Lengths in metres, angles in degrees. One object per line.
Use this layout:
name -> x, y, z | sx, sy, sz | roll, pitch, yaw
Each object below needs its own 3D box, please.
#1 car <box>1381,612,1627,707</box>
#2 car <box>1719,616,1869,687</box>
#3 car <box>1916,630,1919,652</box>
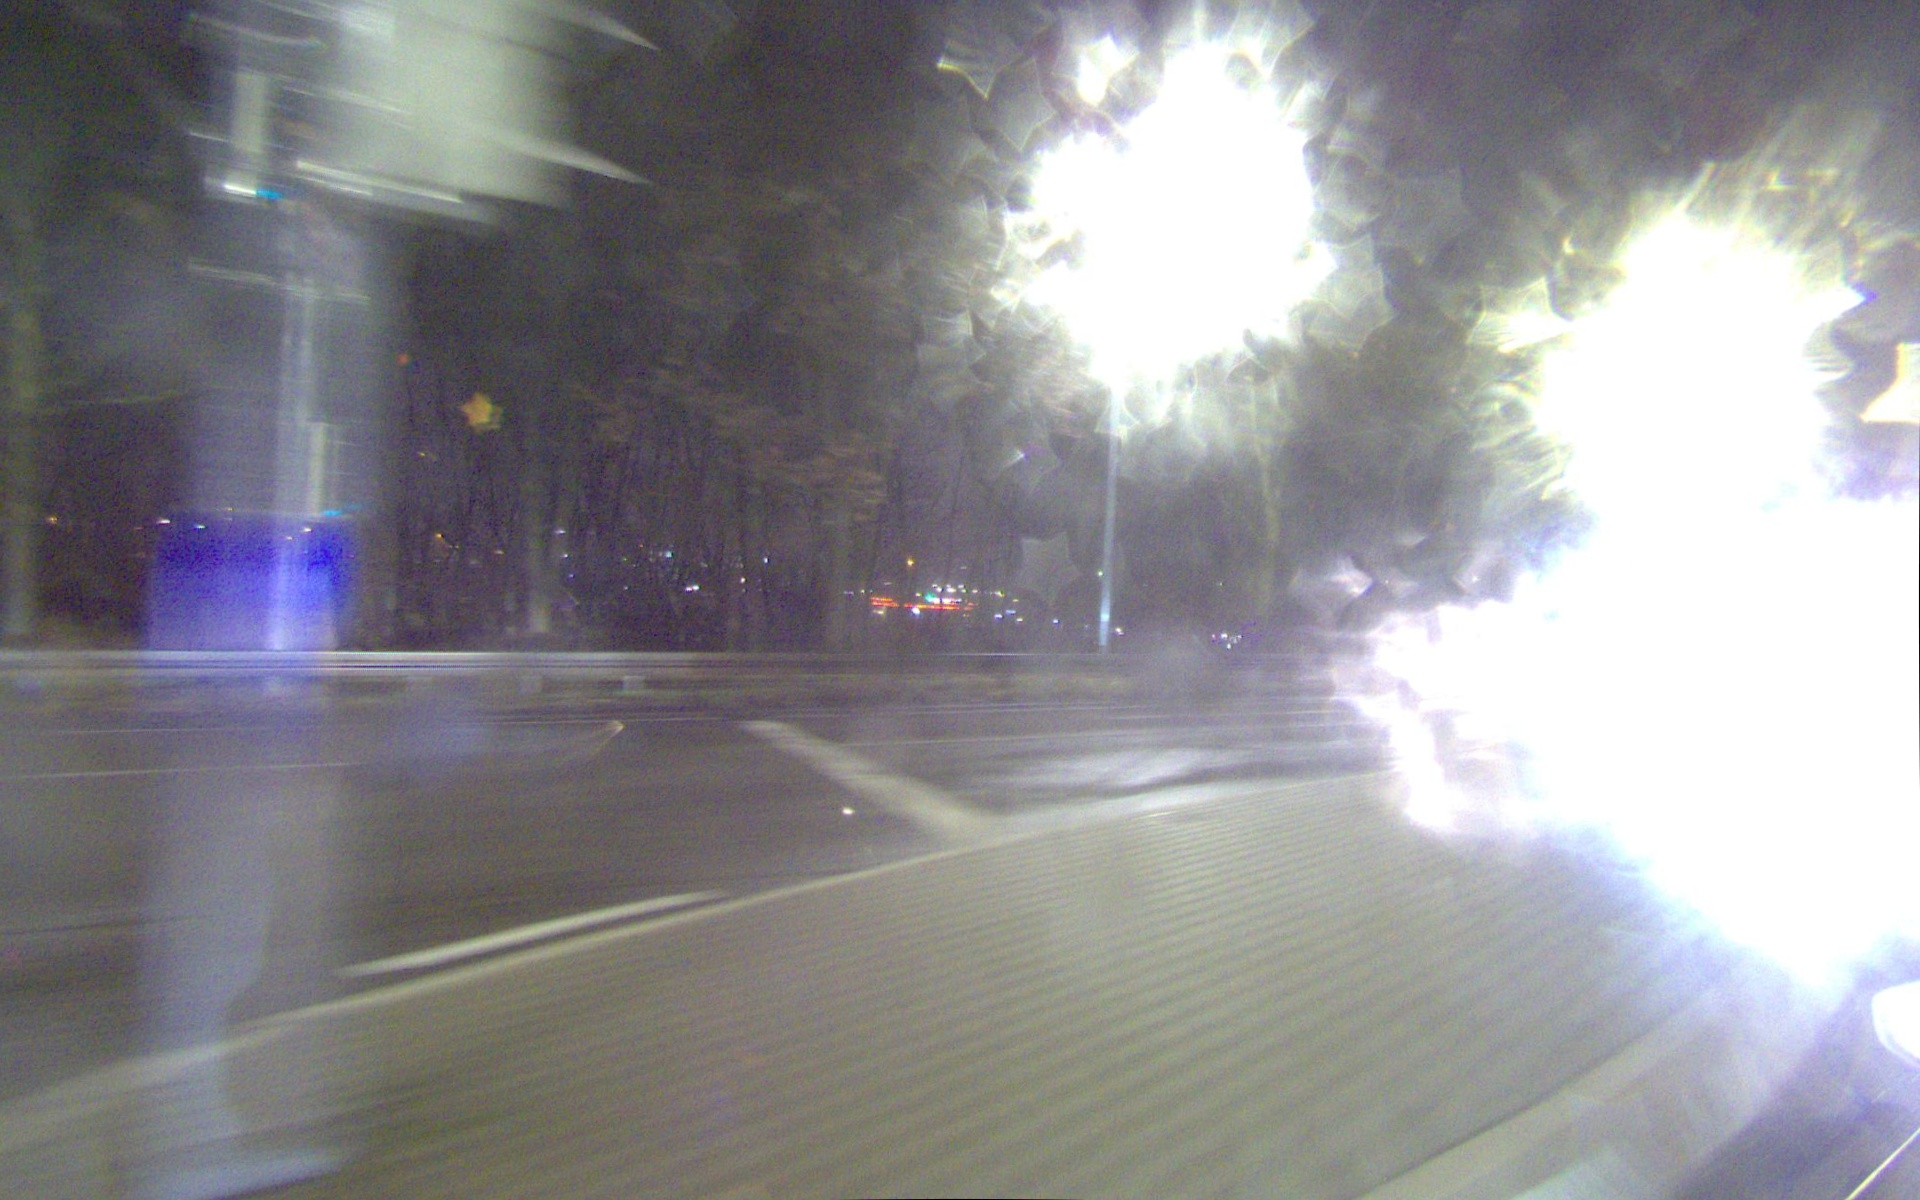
car -> 9.993, 1.080, 18.360 | 4.607, 1.467, 1.814 | 3, 1, -31
car -> 21.127, 1.248, 25.386 | 4.616, 1.628, 1.867 | 1, -1, -37
car -> 71.614, 3.072, 73.367 | 1.790, 1.639, 3.990 | 4, 1, 32
